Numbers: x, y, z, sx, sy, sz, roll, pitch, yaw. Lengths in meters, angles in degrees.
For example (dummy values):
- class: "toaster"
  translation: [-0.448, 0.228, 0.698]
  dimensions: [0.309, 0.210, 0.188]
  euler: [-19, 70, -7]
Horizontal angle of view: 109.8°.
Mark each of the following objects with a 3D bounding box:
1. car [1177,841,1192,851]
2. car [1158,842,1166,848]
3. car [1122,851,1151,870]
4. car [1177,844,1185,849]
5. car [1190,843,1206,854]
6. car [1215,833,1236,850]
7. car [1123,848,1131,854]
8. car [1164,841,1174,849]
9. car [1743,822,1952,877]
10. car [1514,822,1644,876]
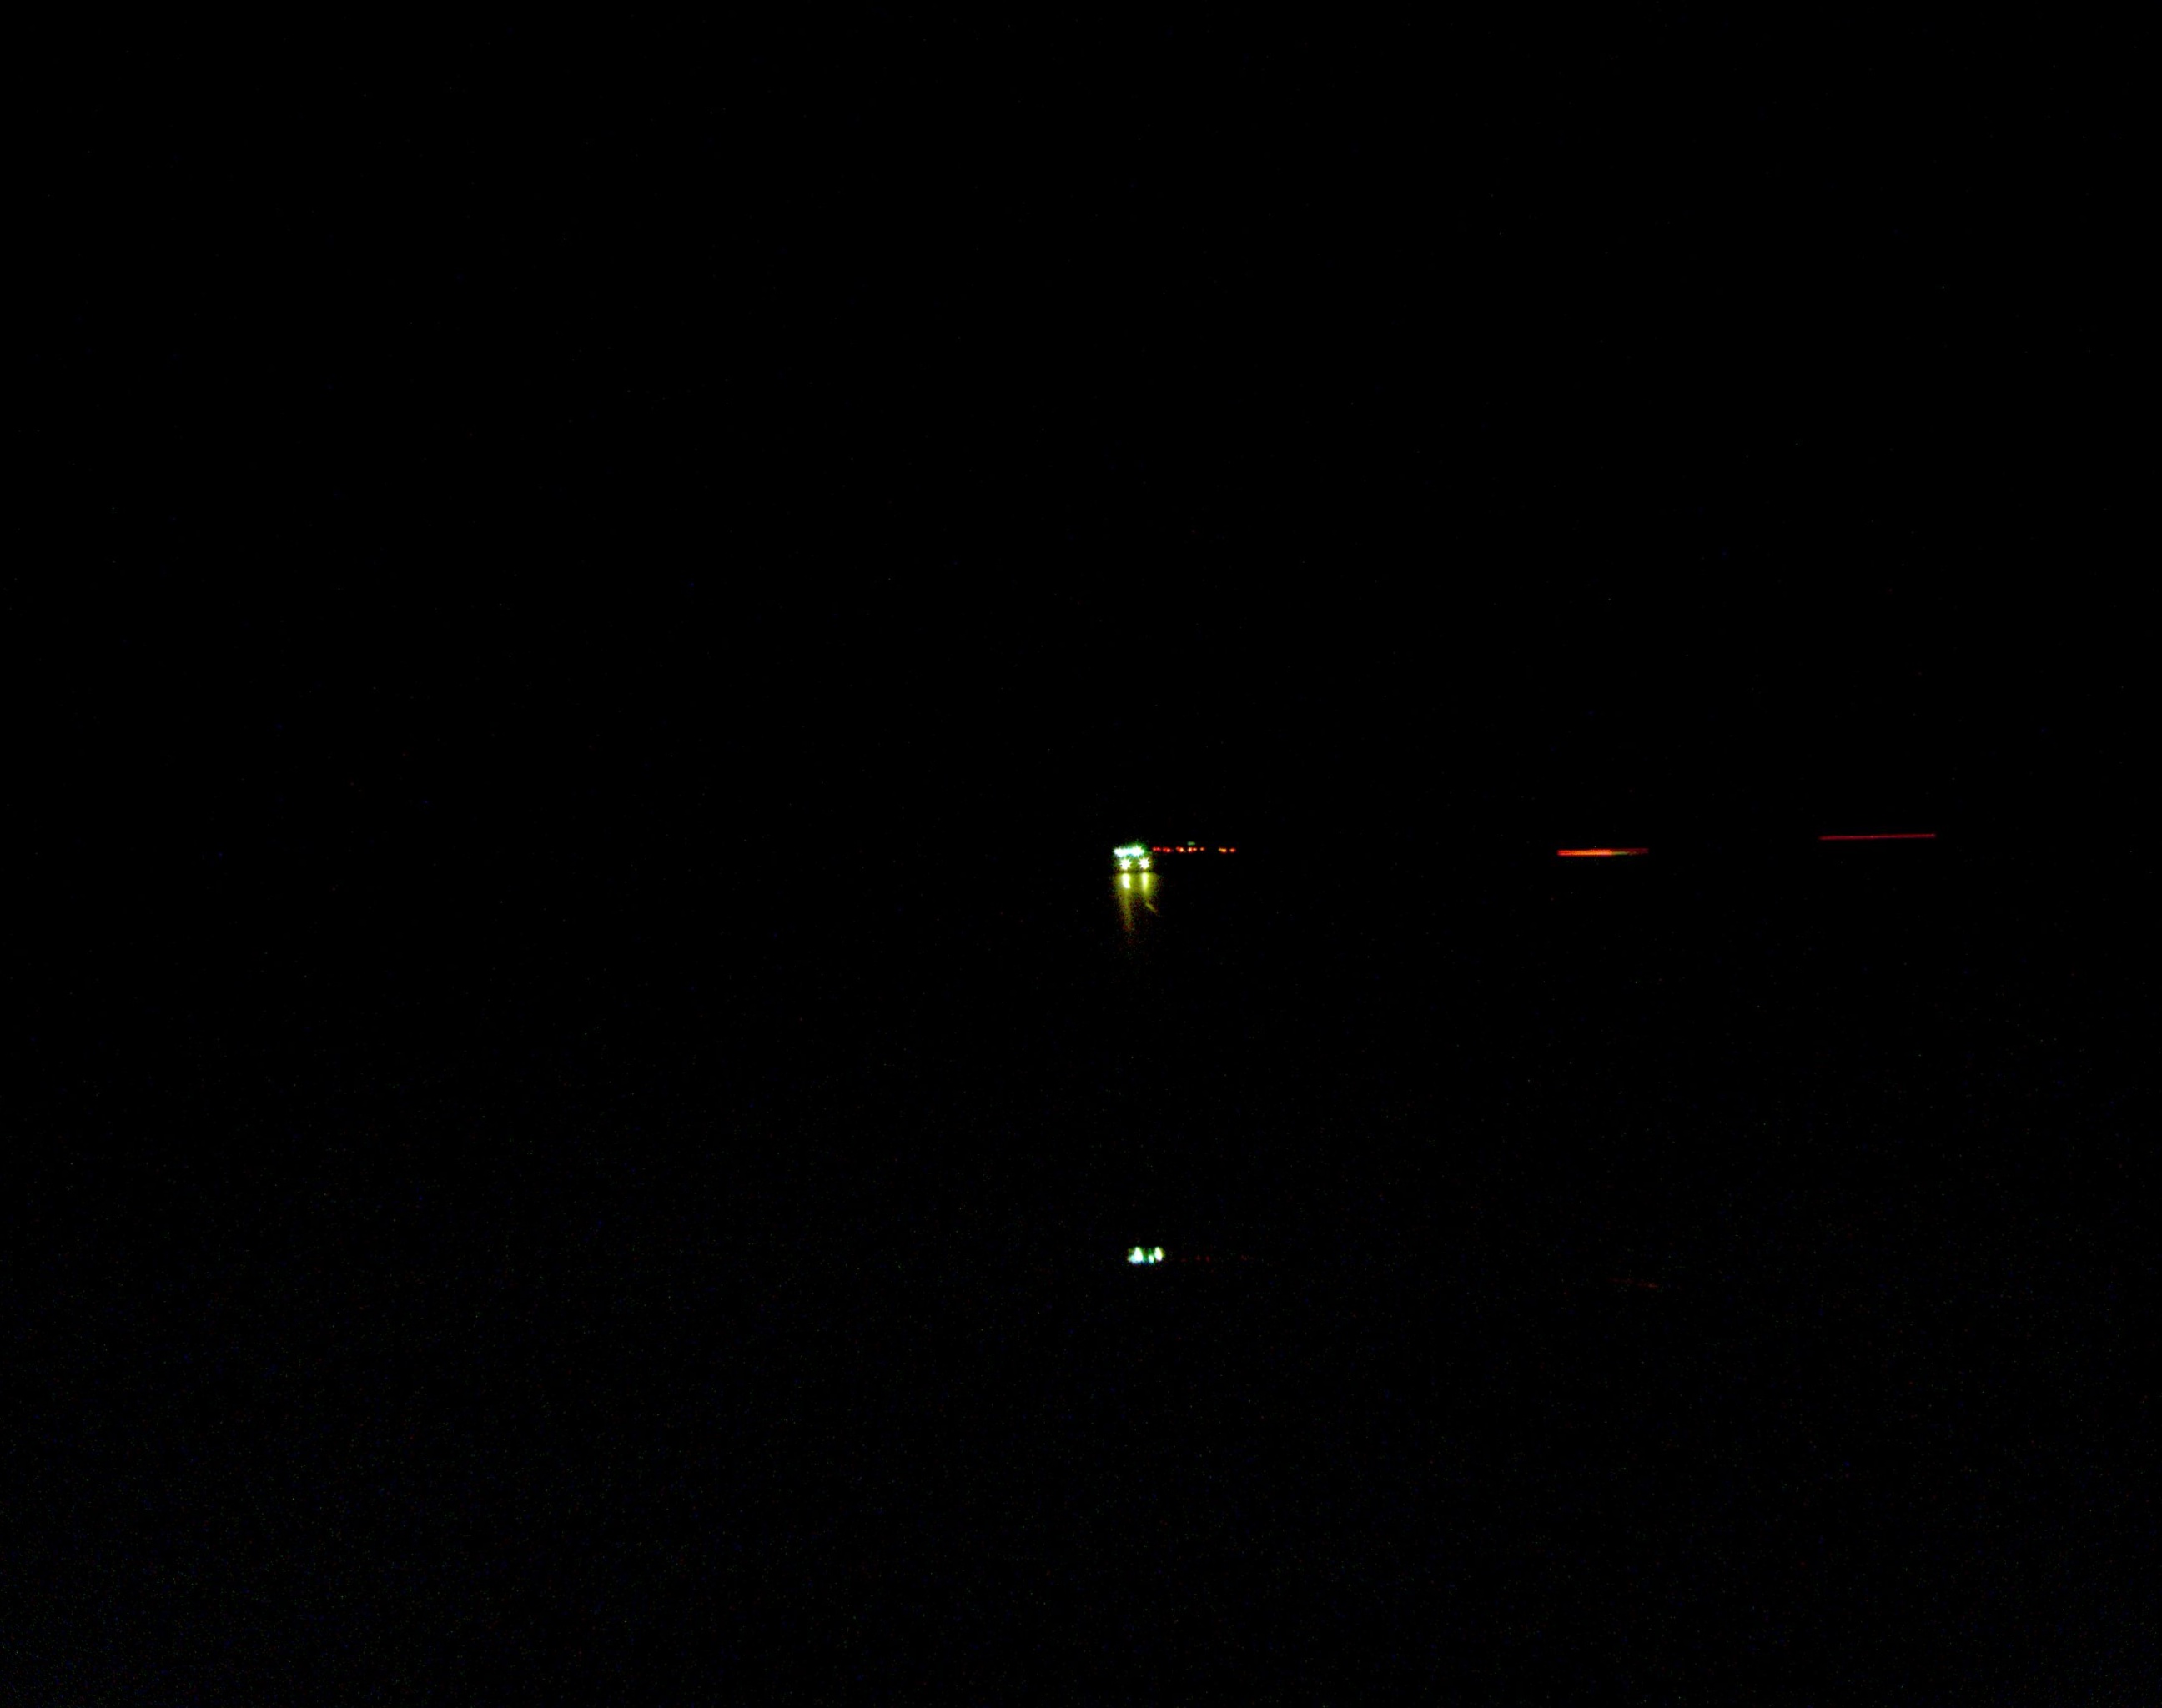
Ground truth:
- class: "car"
  translation: [20.011, -1.568, 147.132]
  dimensions: [2.151, 1.874, 5.422]
  euler: [-2, 1, -1]
- class: "car"
  translation: [24.041, -2.685, 226.443]
  dimensions: [1.998, 1.724, 4.659]
  euler: [-2, 1, 3]
- class: "car"
  translation: [4.444, 0.505, 61.040]
  dimensions: [1.998, 1.422, 4.330]
  euler: [-3, 0, 1]
- class: "car"
  translation: [30.563, -2.335, 233.196]
  dimensions: [1.998, 1.500, 5.185]
  euler: [-2, 1, 3]
- class: "car"
  translation: [19.098, -0.872, 124.310]
  dimensions: [1.998, 1.724, 4.659]
  euler: [-2, 1, 2]
- class: "car"
  translation: [26.343, -2.330, 138.579]
  dimensions: [2.464, 2.919, 8.333]
  euler: [-2, 1, 2]
- class: "car"
  translation: [13.856, -0.939, 229.262]
  dimensions: [1.998, 1.724, 4.225]
  euler: [-3, 0, 2]
- class: "car"
  translation: [20.786, -2.121, 178.885]
  dimensions: [1.998, 1.724, 4.659]
  euler: [-2, 1, 3]
- class: "car"
  translation: [23.098, -0.152, 23.217]
  dimensions: [1.778, 1.421, 4.659]
  euler: [-2, 1, 2]
- class: "car"
  translation: [19.319, -0.213, 29.780]
  dimensions: [2.109, 1.874, 4.659]
  euler: [-2, 1, 2]
